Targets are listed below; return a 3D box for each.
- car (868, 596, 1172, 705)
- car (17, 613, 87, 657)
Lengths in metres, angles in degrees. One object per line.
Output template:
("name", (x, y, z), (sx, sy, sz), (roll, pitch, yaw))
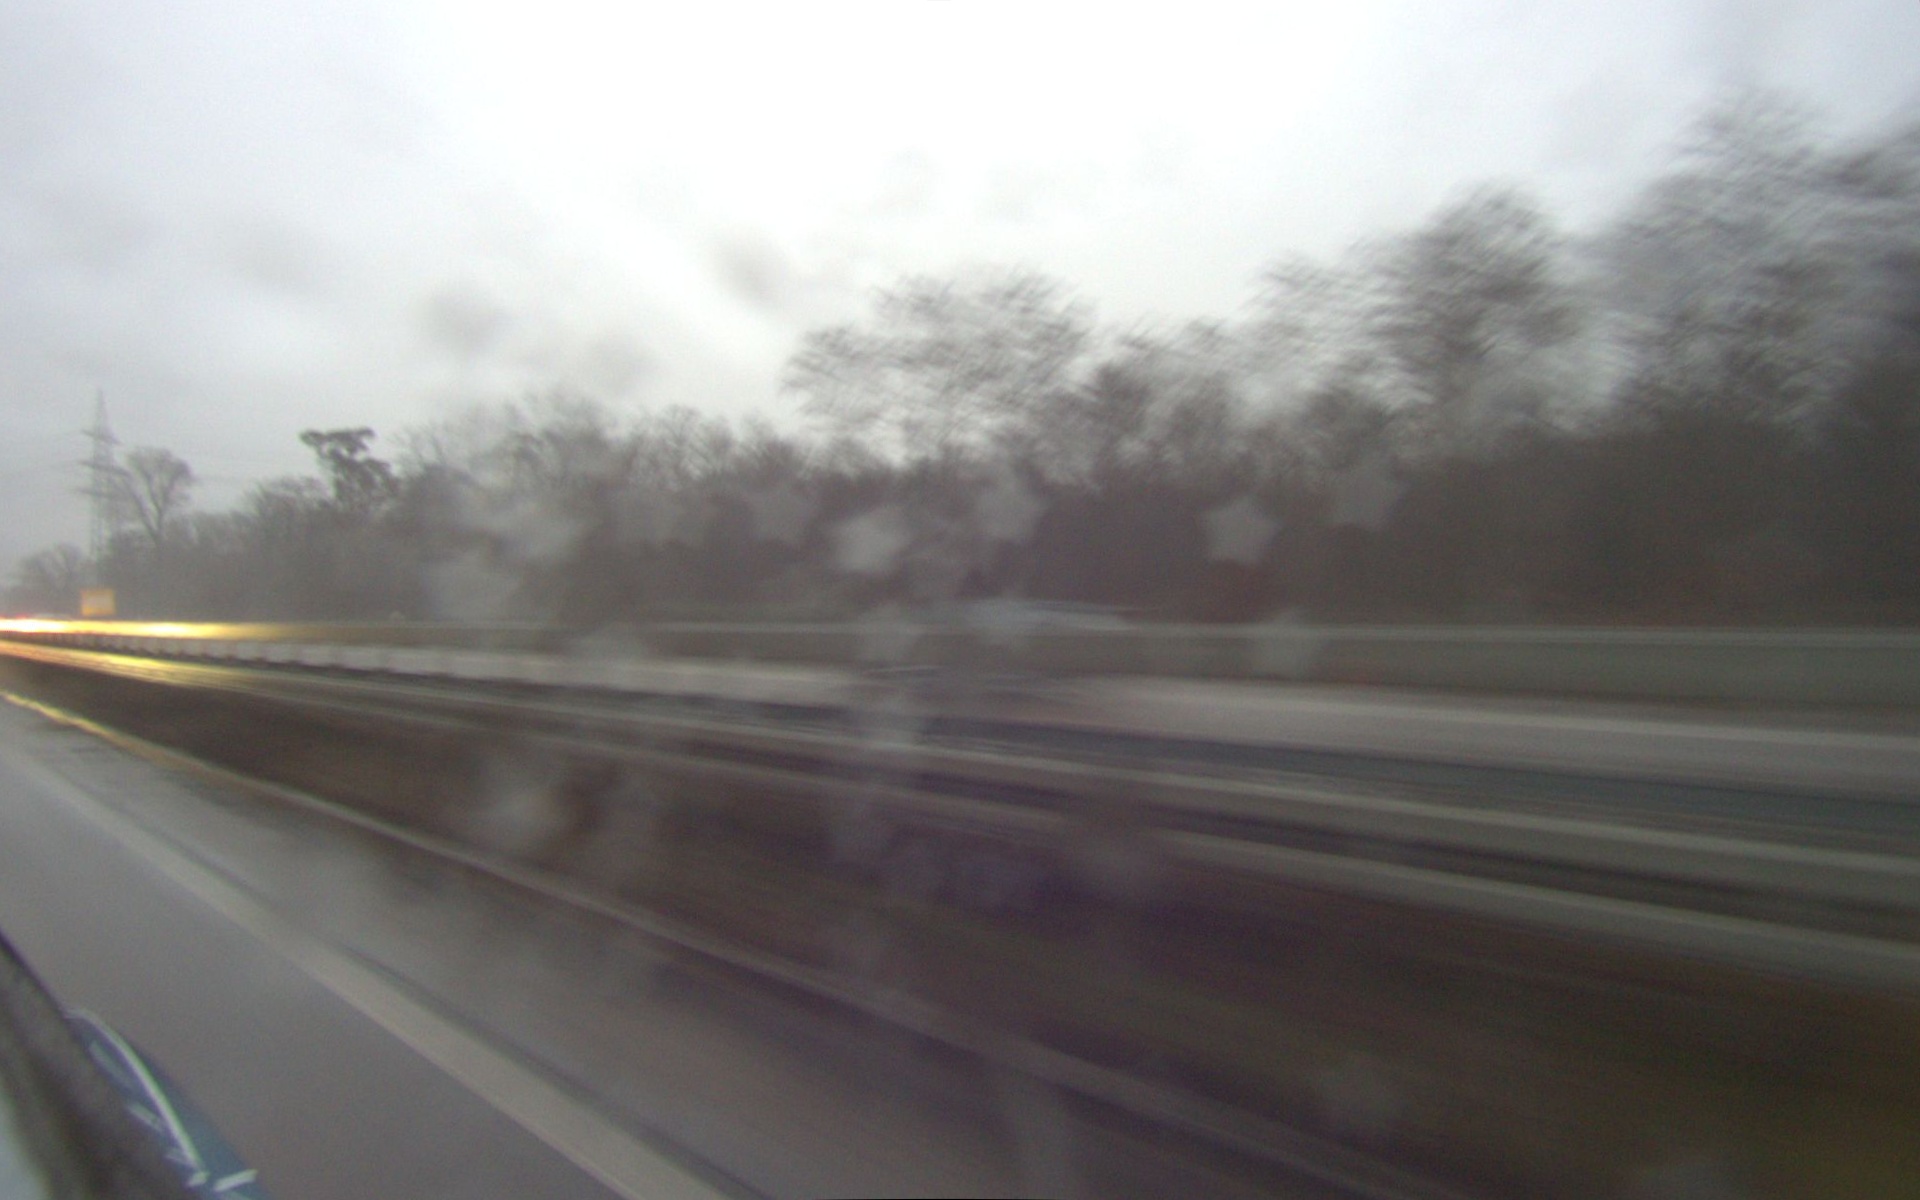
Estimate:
("car", (0.766, 0.683, 14.783), (4.247, 1.369, 1.749), (-1, -1, 40))
("car", (-41.334, 1.558, 46.039), (3.998, 1.829, 1.817), (-1, 1, 41))
